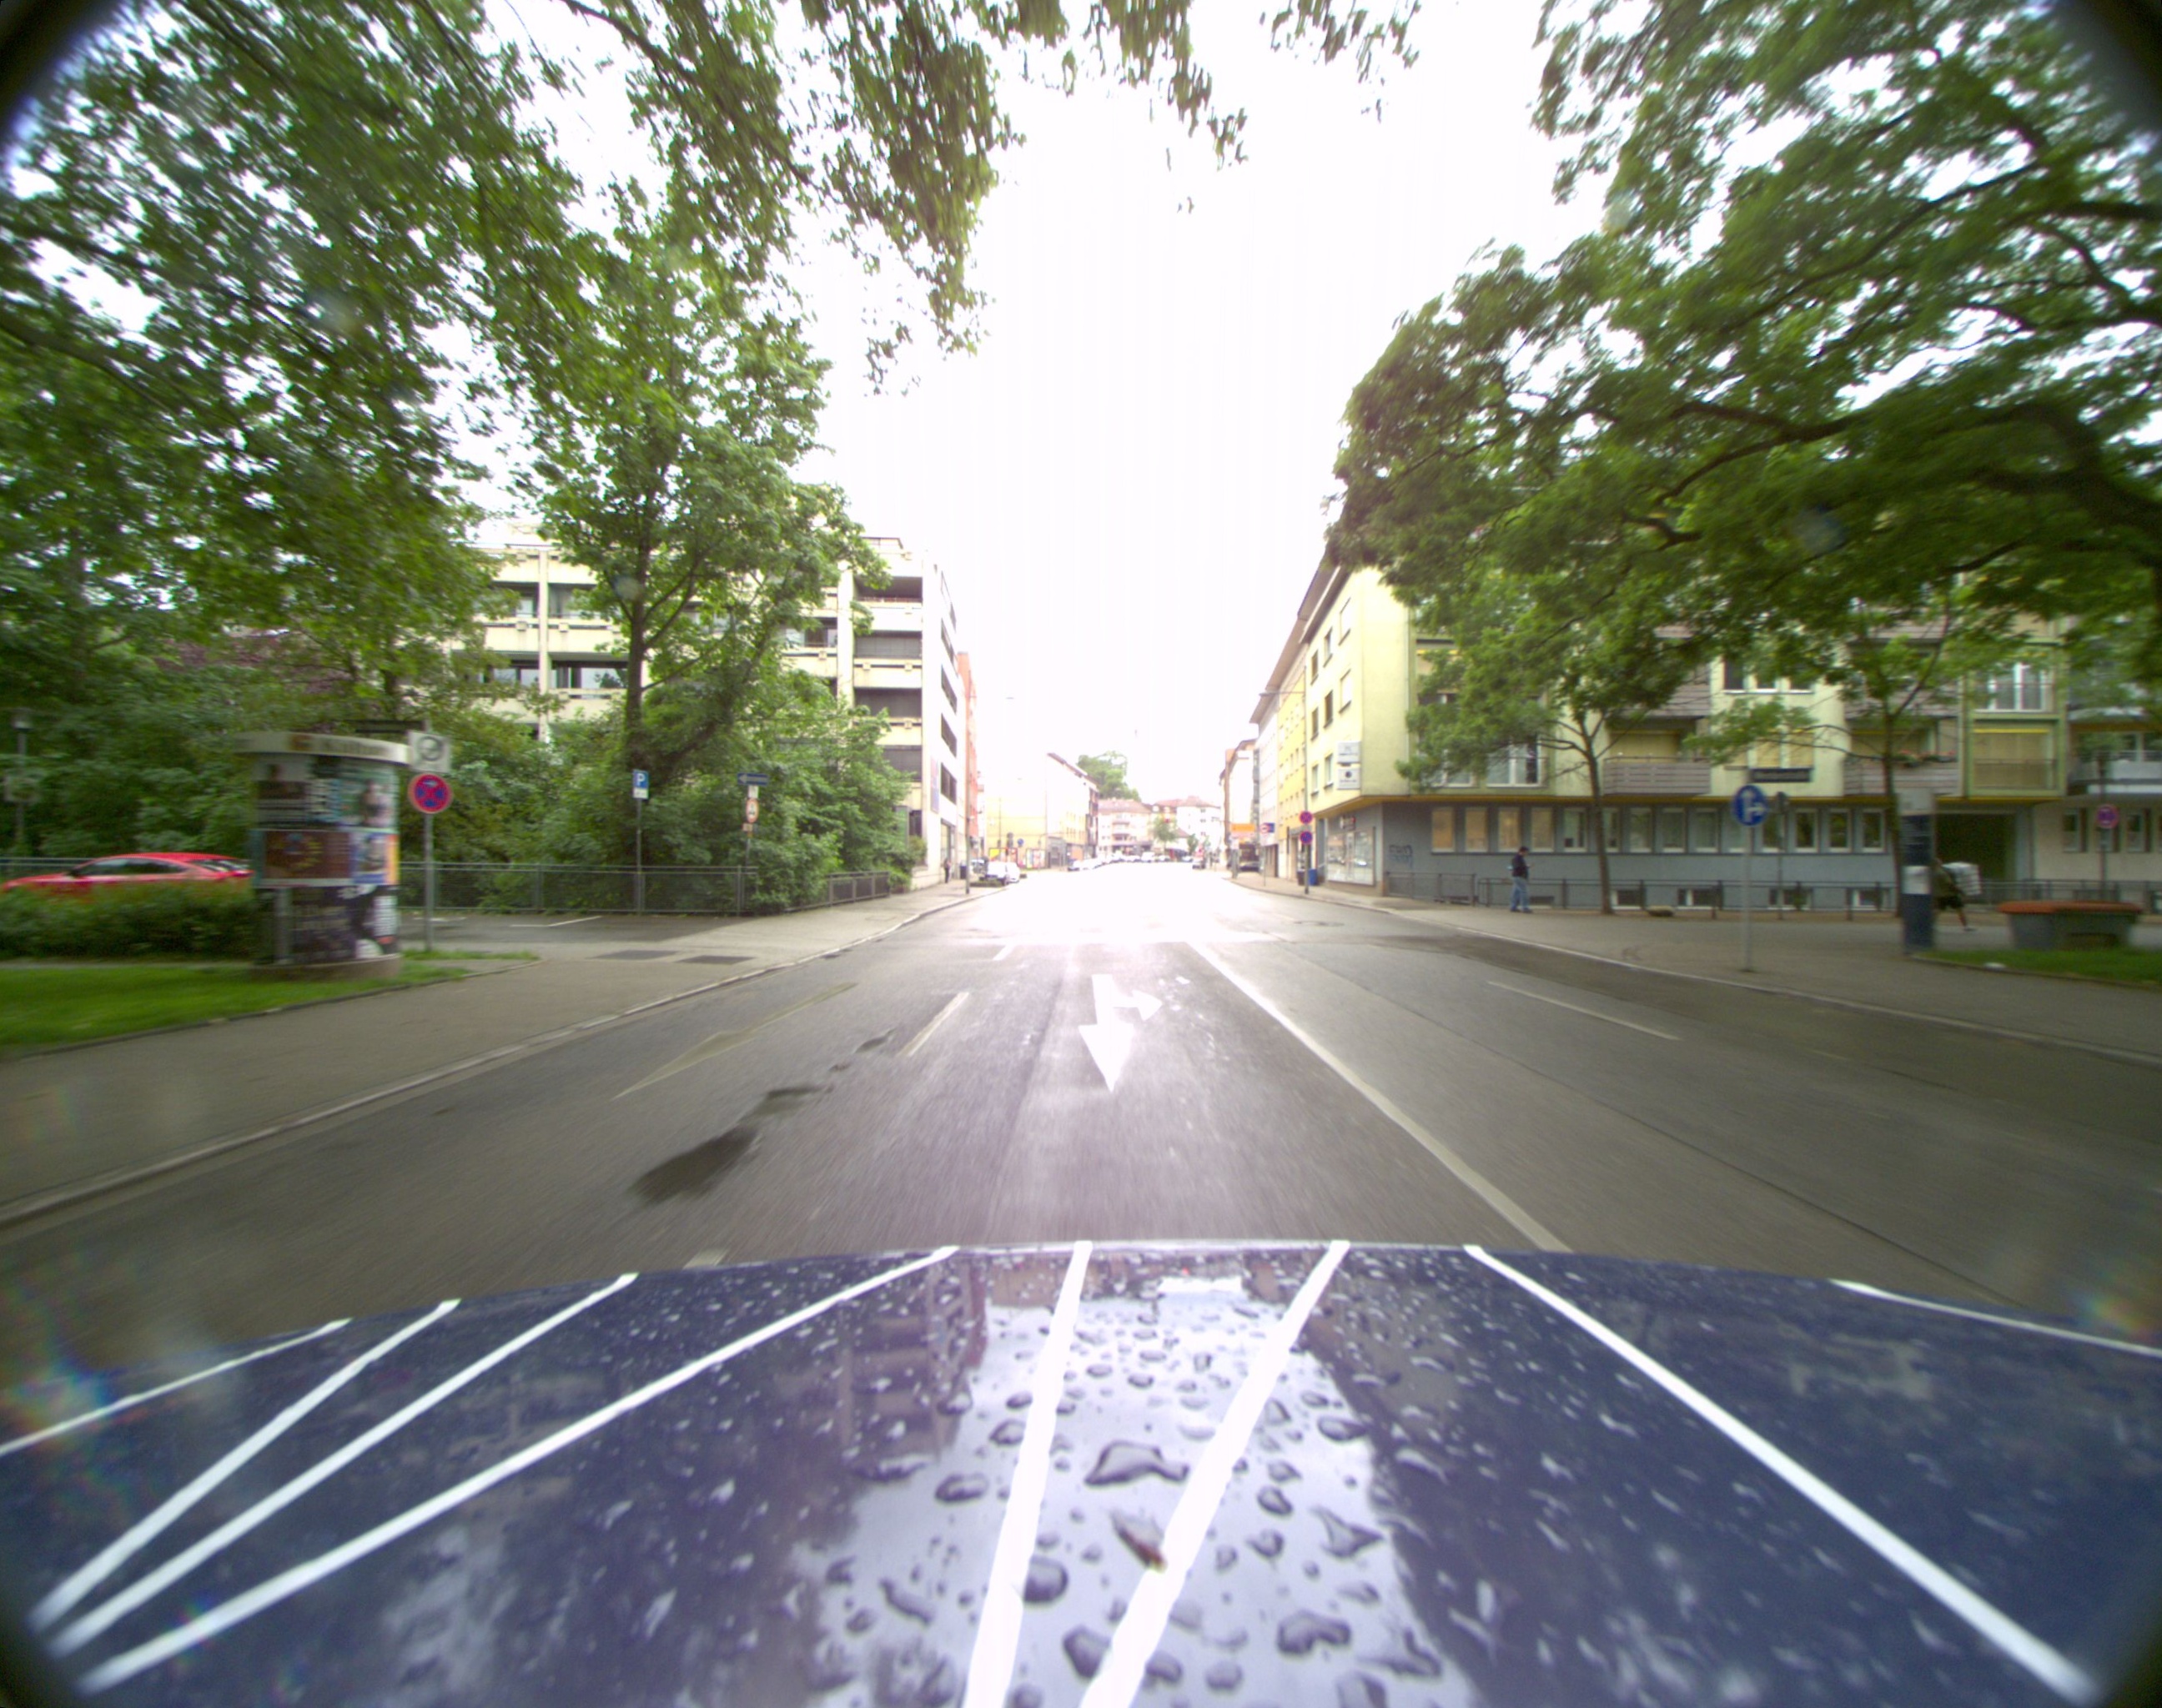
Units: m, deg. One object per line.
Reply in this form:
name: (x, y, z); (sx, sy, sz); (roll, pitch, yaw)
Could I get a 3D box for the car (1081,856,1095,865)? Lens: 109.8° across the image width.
car: (1.064, 0.934, 115.623); (1.736, 1.389, 3.744); (0, 0, 8)

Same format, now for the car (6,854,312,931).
car: (-19.518, 0.794, 16.264); (3.999, 1.473, 1.875); (1, 1, -5)

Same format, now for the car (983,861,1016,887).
car: (-5.151, 1.225, 48.222); (1.706, 1.549, 3.804); (1, 0, -1)

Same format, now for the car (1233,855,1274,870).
car: (20.422, 1.030, 90.116); (4.560, 1.559, 1.758); (-2, 0, 4)

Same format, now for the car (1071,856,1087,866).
car: (-0.287, 0.950, 107.588); (1.736, 1.389, 3.744); (0, 0, 8)

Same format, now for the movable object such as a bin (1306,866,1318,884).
movable object such as a bin: (12.961, 1.186, 42.629); (0.529, 0.955, 0.435); (-4, 0, 8)

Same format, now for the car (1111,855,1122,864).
car: (7.071, 1.091, 151.099); (1.670, 1.761, 4.004); (1, 0, 11)

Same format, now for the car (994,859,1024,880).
car: (-5.156, 1.114, 54.841); (1.835, 1.412, 4.569); (1, 0, -1)

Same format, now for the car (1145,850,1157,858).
car: (14.584, -0.007, 158.176); (2.015, 1.754, 4.767); (1, 0, 11)

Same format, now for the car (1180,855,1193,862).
car: (25.891, 1.103, 185.722); (1.747, 1.754, 4.061); (1, 0, 31)

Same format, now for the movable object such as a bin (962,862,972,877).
movable object such as a bin: (-8.603, 1.175, 57.247); (0.681, 1.097, 0.514); (0, 0, -1)

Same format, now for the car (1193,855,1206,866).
car: (18.134, 0.960, 115.827); (1.834, 1.612, 4.003); (0, 0, 10)

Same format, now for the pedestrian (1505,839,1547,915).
pedestrian: (12.080, 0.616, 20.634); (0.754, 2.002, 0.780); (0, 1, -39)

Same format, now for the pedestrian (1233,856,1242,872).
pedestrian: (15.508, 0.999, 75.327); (0.785, 1.578, 0.674); (-2, 0, 21)

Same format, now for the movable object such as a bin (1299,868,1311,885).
movable object such as a bin: (12.749, 1.287, 43.326); (0.529, 0.890, 0.435); (-4, 0, 8)

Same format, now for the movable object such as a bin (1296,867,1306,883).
movable object such as a bin: (12.879, 1.244, 44.475); (0.465, 0.922, 0.428); (-4, 0, 8)

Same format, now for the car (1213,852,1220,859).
car: (33.567, 0.368, 188.021); (1.591, 1.518, 3.492); (0, 0, 14)

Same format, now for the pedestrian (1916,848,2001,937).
pedestrian: (19.382, 0.834, 16.802); (0.918, 1.913, 0.820); (0, 0, 6)

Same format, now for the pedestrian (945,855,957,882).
pedestrian: (-7.989, 0.873, 46.835); (0.599, 1.650, 0.691); (3, 0, -6)

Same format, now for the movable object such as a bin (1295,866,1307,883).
movable object such as a bin: (13.042, 1.223, 45.086); (0.517, 0.994, 0.524); (-4, 0, 8)

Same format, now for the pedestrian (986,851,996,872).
pedestrian: (-9.159, 0.748, 77.498); (0.806, 2.140, 0.737); (0, 0, -23)

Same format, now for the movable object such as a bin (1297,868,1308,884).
movable object such as a bin: (12.776, 1.266, 43.838); (0.529, 0.922, 0.426); (-4, 0, 8)

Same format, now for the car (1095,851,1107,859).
car: (3.594, 0.193, 135.333); (1.736, 1.389, 3.744); (0, 0, 8)

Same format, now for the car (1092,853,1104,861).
car: (2.930, 0.453, 130.324); (1.736, 1.389, 3.743); (0, 0, 7)
